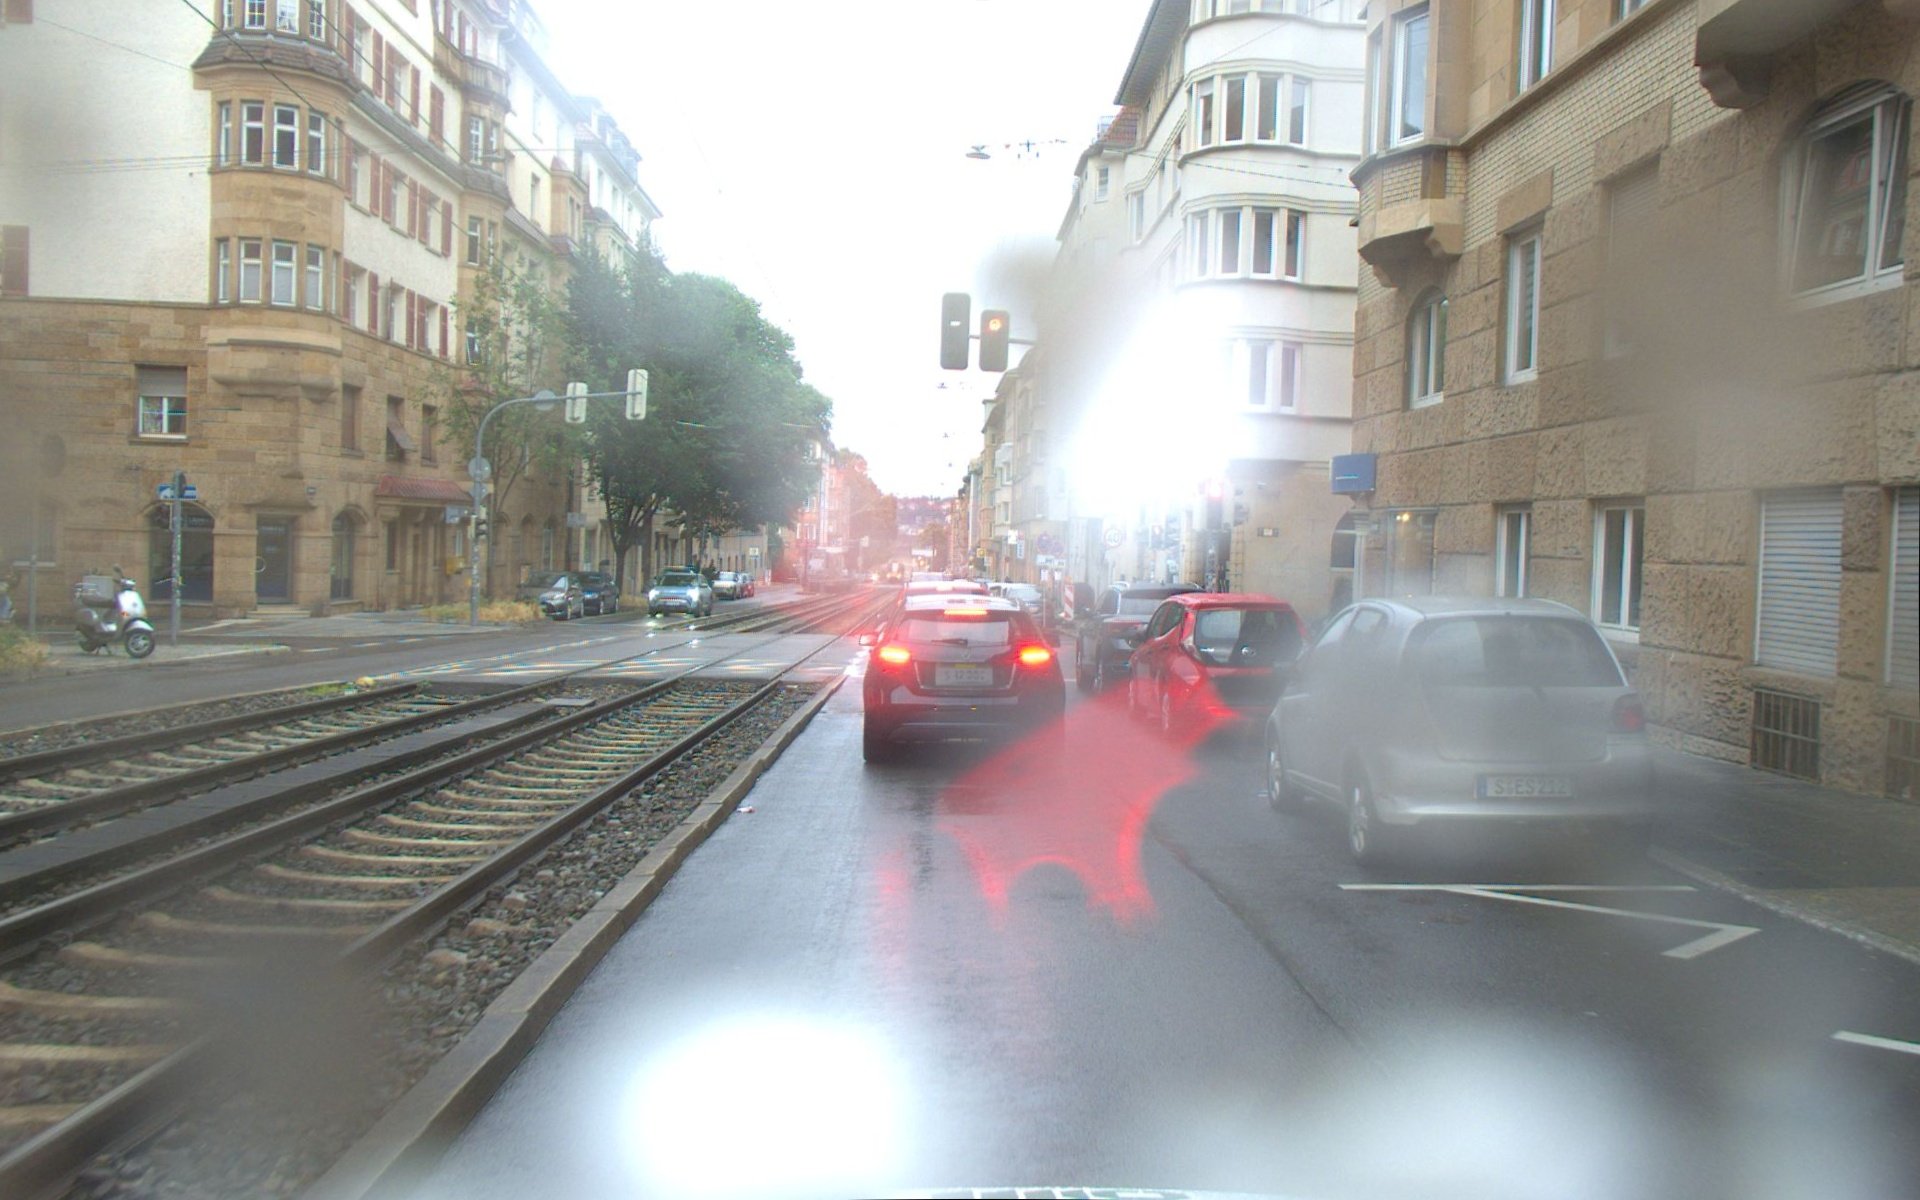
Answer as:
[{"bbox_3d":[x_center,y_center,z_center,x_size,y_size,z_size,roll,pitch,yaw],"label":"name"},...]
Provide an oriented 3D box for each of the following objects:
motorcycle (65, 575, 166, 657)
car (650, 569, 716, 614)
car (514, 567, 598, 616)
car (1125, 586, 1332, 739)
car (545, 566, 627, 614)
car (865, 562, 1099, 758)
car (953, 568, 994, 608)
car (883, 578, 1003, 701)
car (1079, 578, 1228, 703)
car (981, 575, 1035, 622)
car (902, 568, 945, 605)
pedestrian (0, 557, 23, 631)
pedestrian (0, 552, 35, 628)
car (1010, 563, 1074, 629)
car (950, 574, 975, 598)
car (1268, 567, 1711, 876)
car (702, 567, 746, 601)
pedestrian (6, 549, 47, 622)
[{"bbox_3d":[-12.501,0.233,24.469,1.409,1.154,0.619,2,0,29],"label":"motorcycle"},{"bbox_3d":[-10.088,-0.312,60.420,1.759,1.575,3.999,1,0,-1],"label":"car"},{"bbox_3d":[-12.835,-0.257,52.723,1.735,1.489,3.999,1,0,-1],"label":"car"},{"bbox_3d":[2.782,0.601,17.747,1.570,1.444,3.147,1,1,-2],"label":"car"},{"bbox_3d":[-13.076,-0.360,58.040,1.953,1.544,4.000,1,1,-1],"label":"car"},{"bbox_3d":[0.121,0.495,15.401,1.907,1.592,3.641,1,0,-2],"label":"car"},{"bbox_3d":[0.613,-0.538,78.251,1.815,1.829,3.811,1,-1,-1],"label":"car"},{"bbox_3d":[-0.238,0.484,23.318,1.504,1.536,4.000,2,1,-1],"label":"car"},{"bbox_3d":[2.603,0.500,23.036,1.518,1.534,4.000,2,1,-1],"label":"car"},{"bbox_3d":[1.900,-0.035,66.596,1.733,1.807,3.996,1,-1,-5],"label":"car"},{"bbox_3d":[-1.787,-0.659,79.210,1.883,1.684,3.997,2,1,-4],"label":"car"},{"bbox_3d":[-23.053,-0.143,39.815,0.595,1.763,0.642,2,0,0],"label":"pedestrian"},{"bbox_3d":[-22.226,-0.237,38.737,0.595,1.763,0.865,2,0,0],"label":"pedestrian"},{"bbox_3d":[2.659,-0.114,54.463,1.860,2.063,4.175,1,-1,-1],"label":"car"},{"bbox_3d":[0.181,-1.088,127.936,1.870,1.735,4.000,1,1,-1],"label":"car"},{"bbox_3d":[3.107,0.618,10.420,1.604,1.569,3.465,2,1,-1],"label":"car"},{"bbox_3d":[-13.720,-0.937,96.228,1.953,1.825,4.000,2,1,-1],"label":"car"},{"bbox_3d":[-22.892,-0.348,40.548,0.595,1.763,0.642,2,0,0],"label":"pedestrian"}]
